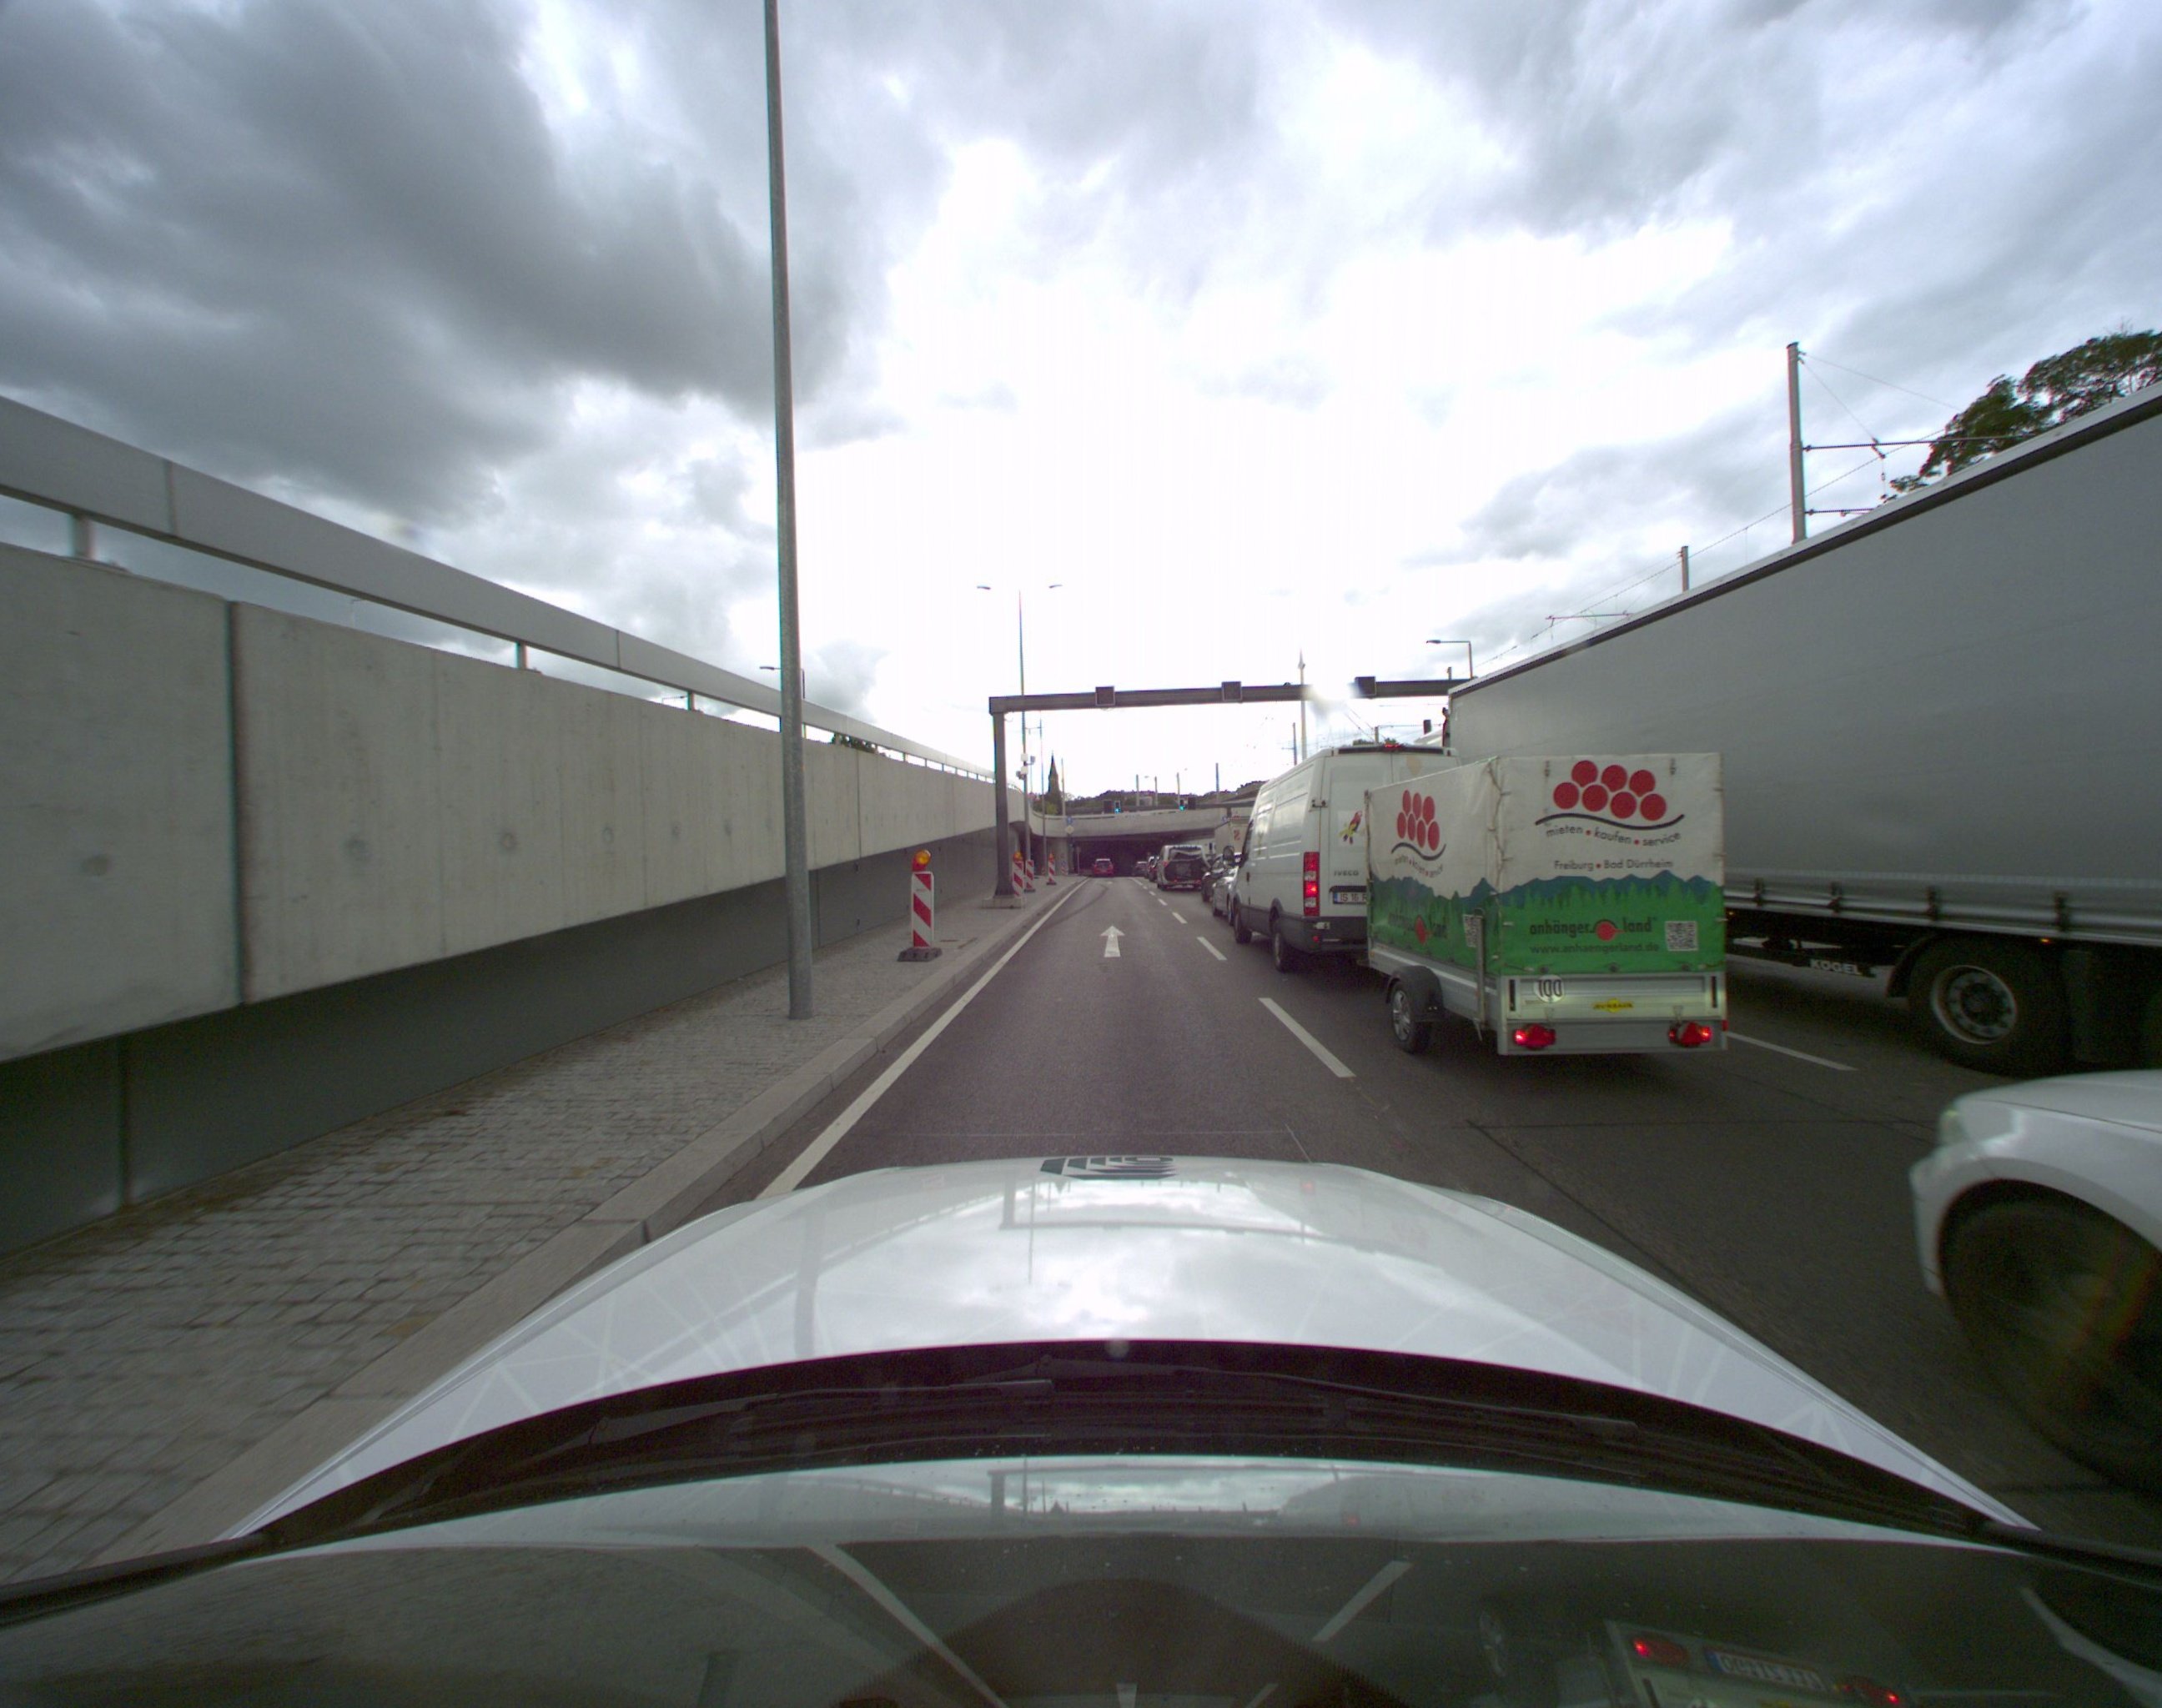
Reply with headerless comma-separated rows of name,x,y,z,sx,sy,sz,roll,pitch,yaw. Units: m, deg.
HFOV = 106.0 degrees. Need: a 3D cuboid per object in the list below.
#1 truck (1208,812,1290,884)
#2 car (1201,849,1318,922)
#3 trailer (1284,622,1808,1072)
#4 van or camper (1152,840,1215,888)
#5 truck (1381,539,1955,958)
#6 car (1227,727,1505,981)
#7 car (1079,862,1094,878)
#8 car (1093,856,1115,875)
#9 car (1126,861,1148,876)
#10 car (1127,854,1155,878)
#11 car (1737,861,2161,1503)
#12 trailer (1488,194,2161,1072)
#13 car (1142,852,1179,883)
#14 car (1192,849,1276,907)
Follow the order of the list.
truck,8.178,-0.231,40.592,2.640,3.185,7.428,-2,-1,2
car,3.847,0.652,18.185,1.757,1.383,4.039,-2,-1,1
trailer,3.349,-0.004,7.257,2.094,2.639,4.814,-1,-1,3
van or camper,4.197,0.492,34.219,1.987,1.845,5.507,0,-2,1
truck,7.880,-1.167,12.776,3.791,4.631,7.445,0,0,2
car,3.553,0.027,11.611,2.050,2.628,5.945,2,-1,2
car,0.747,2.212,112.395,1.988,2.013,3.997,-1,0,-2
car,1.851,0.969,67.298,1.655,1.488,3.566,-2,-2,0
car,5.059,1.306,73.739,1.659,1.247,3.565,-2,-2,-1
car,4.255,0.872,58.205,1.812,1.580,4.001,2,-1,1
car,3.178,0.725,0.824,1.709,1.398,4.351,0,0,3
trailer,7.652,-1.170,5.794,3.790,4.631,12.118,0,0,2
car,4.572,0.727,47.141,1.812,1.684,4.001,0,0,1
car,4.371,0.633,23.768,1.677,1.545,3.690,0,0,-2
